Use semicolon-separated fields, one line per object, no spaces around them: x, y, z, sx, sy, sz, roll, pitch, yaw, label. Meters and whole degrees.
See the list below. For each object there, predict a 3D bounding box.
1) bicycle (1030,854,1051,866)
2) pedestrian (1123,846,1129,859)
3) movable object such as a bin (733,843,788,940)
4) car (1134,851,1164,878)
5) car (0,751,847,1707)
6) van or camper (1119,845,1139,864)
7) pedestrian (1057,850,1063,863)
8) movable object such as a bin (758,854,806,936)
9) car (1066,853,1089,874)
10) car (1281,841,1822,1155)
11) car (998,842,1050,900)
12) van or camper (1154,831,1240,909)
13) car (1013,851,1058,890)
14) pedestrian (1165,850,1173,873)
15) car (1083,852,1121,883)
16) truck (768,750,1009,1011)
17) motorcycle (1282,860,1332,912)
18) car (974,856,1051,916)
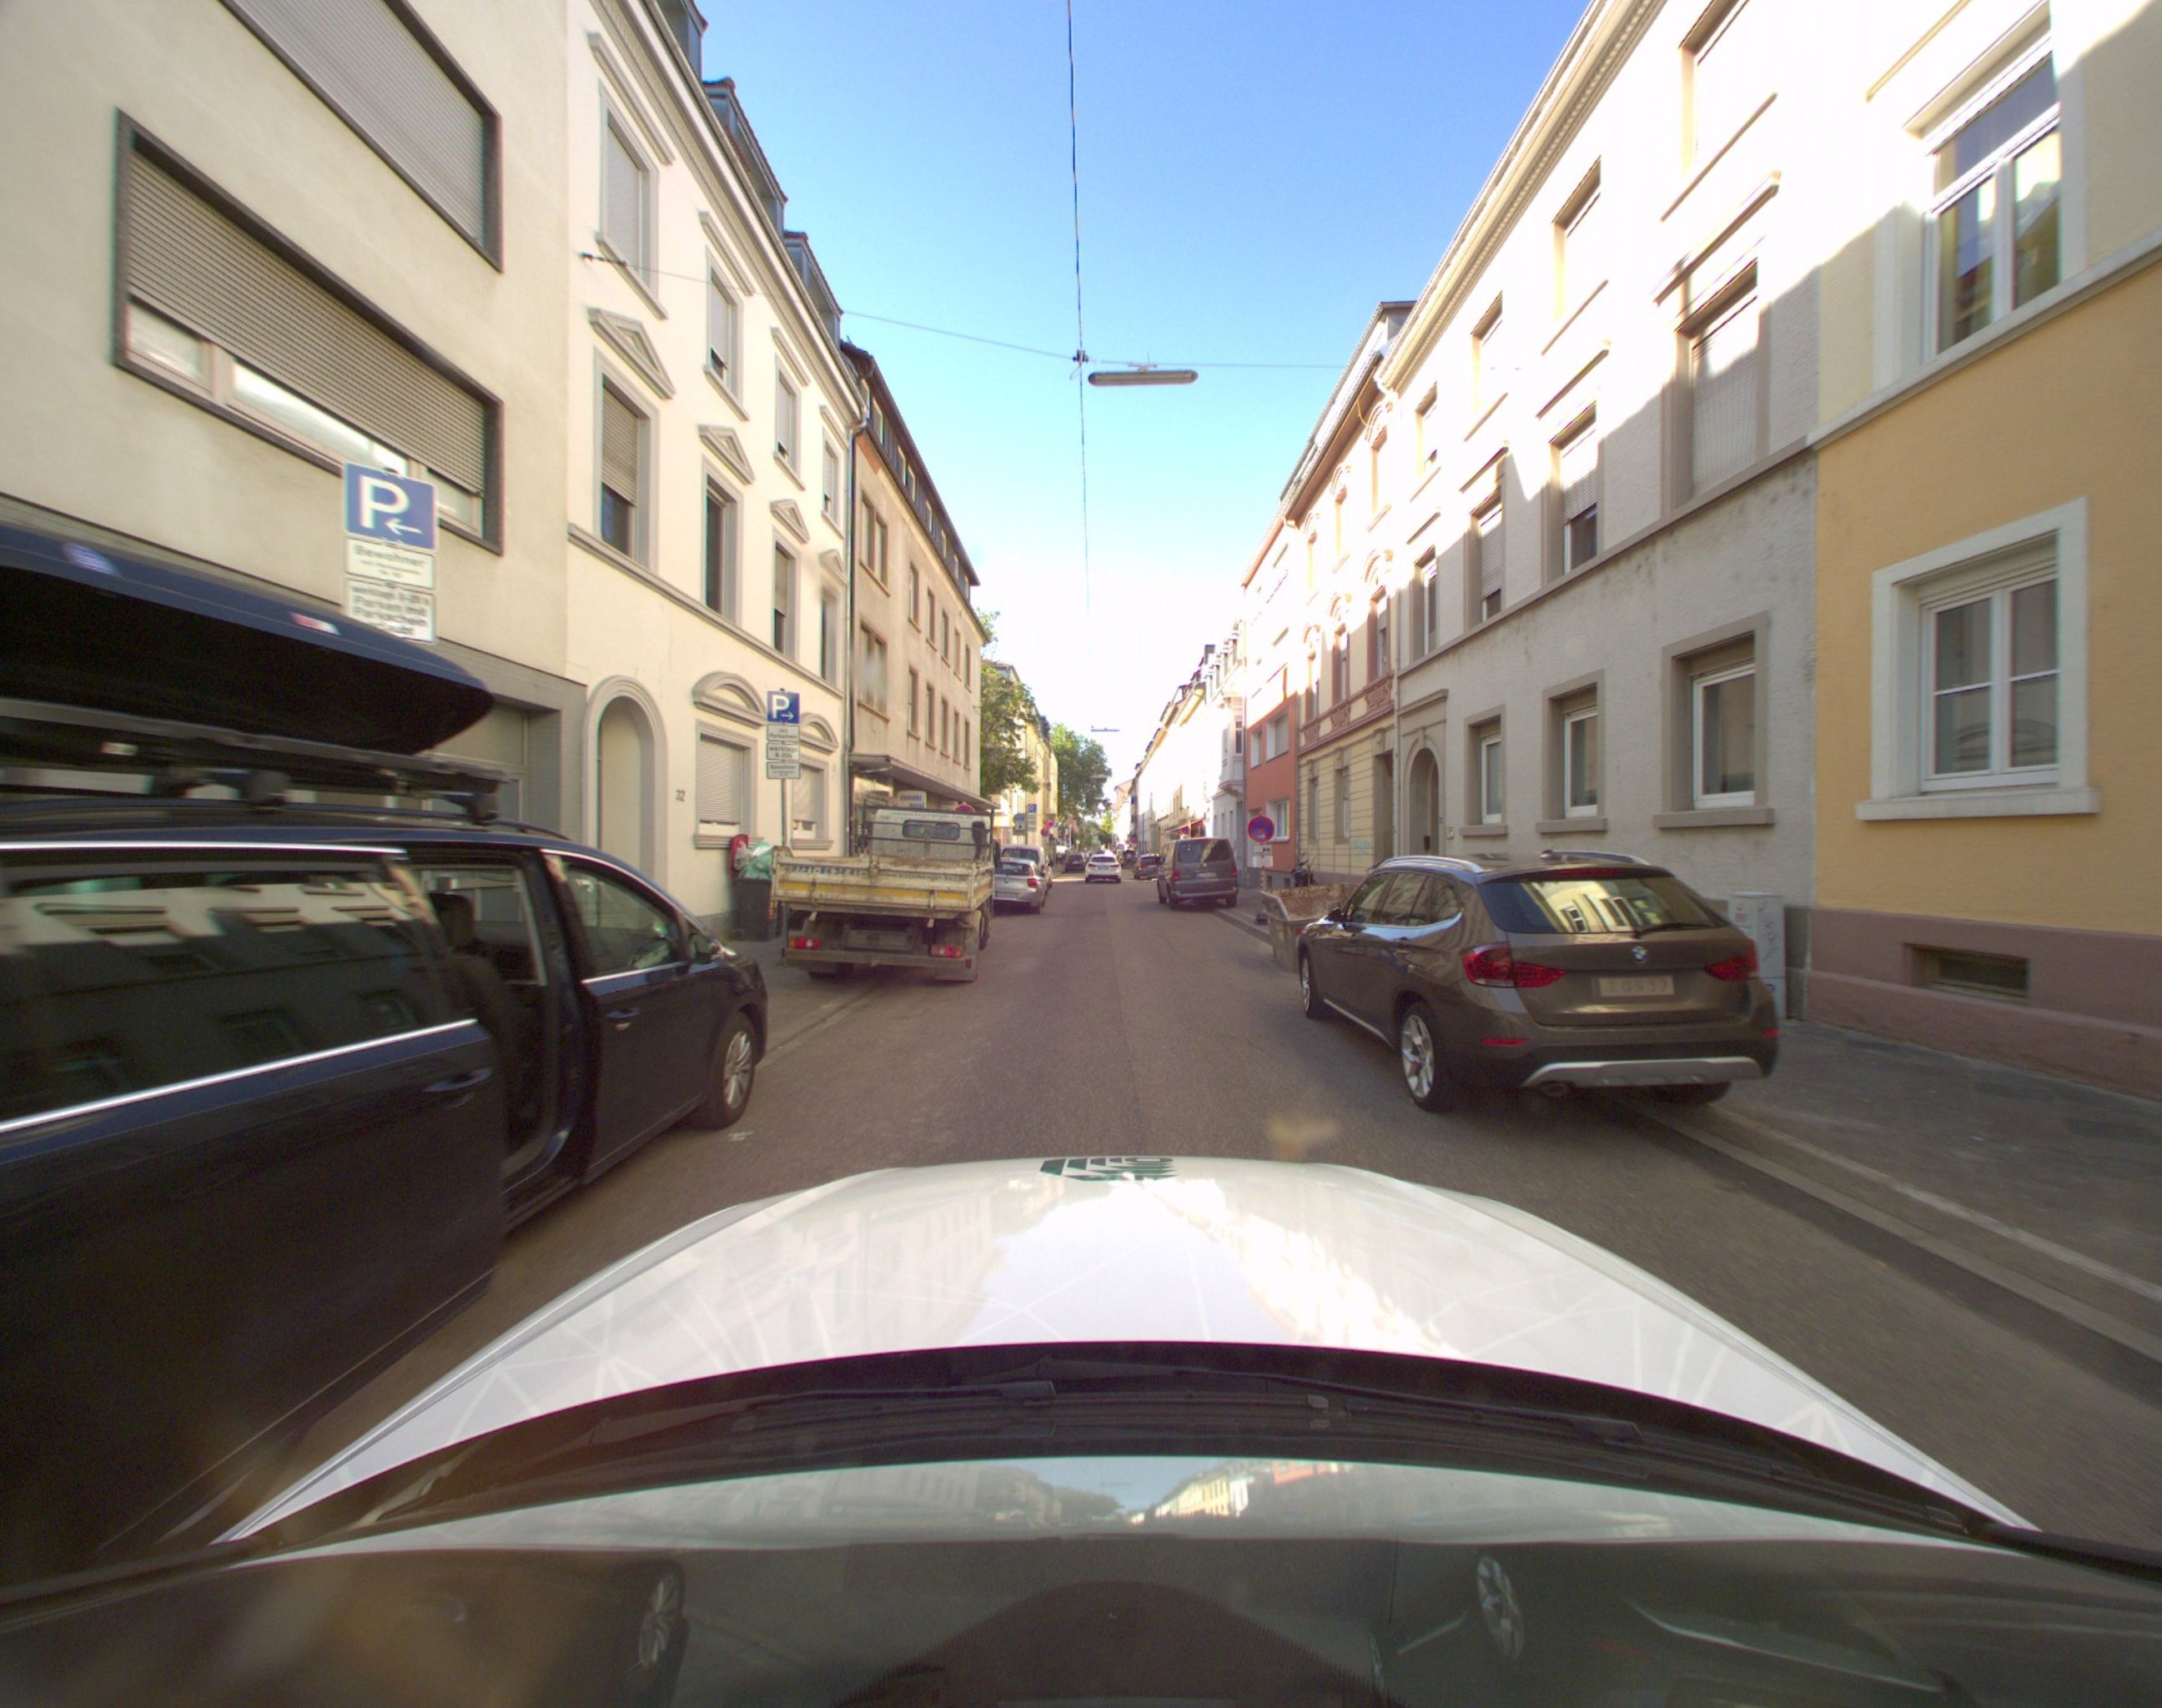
-3.866;0.596;77.519;1.962;1.115;0.507;0;0;-34;bicycle
4.885;-0.164;87.755;0.625;1.464;0.575;-1;-1;1;pedestrian
-5.136;0.587;13.083;0.637;1.532;0.587;0;0;1;movable object such as a bin
4.035;0.597;48.796;1.641;1.576;3.680;0;0;2;car
-2.904;0.671;3.033;2.432;1.705;5.243;0;0;1;car
5.089;0.026;86.328;1.986;1.926;4.001;-1;-1;1;van or camper
-2.373;0.307;91.621;0.625;1.464;0.575;-1;-1;1;pedestrian
-5.044;0.681;13.775;0.559;1.360;0.632;0;0;1;movable object such as a bin
-0.250;0.702;63.712;1.619;1.597;3.581;1;0;1;car
2.914;0.696;6.303;1.733;1.577;4.378;0;1;1;car
-1.919;0.534;28.394;1.642;1.867;3.998;0;0;-1;car
3.311;0.426;24.115;1.770;2.036;4.568;-2;0;-1;van or camper
-1.923;0.678;35.298;1.641;1.576;3.680;0;0;2;car
6.722;0.582;62.105;0.524;1.727;0.492;-1;-1;16;pedestrian
1.113;0.674;42.184;1.827;1.486;4.059;0;0;2;car
-2.245;0.264;11.489;2.152;2.590;6.241;-2;0;-3;truck
5.828;0.794;21.150;0.594;1.186;2.762;-5;0;3;motorcycle
-1.818;0.815;22.650;1.752;1.415;3.999;-2;0;0;car
